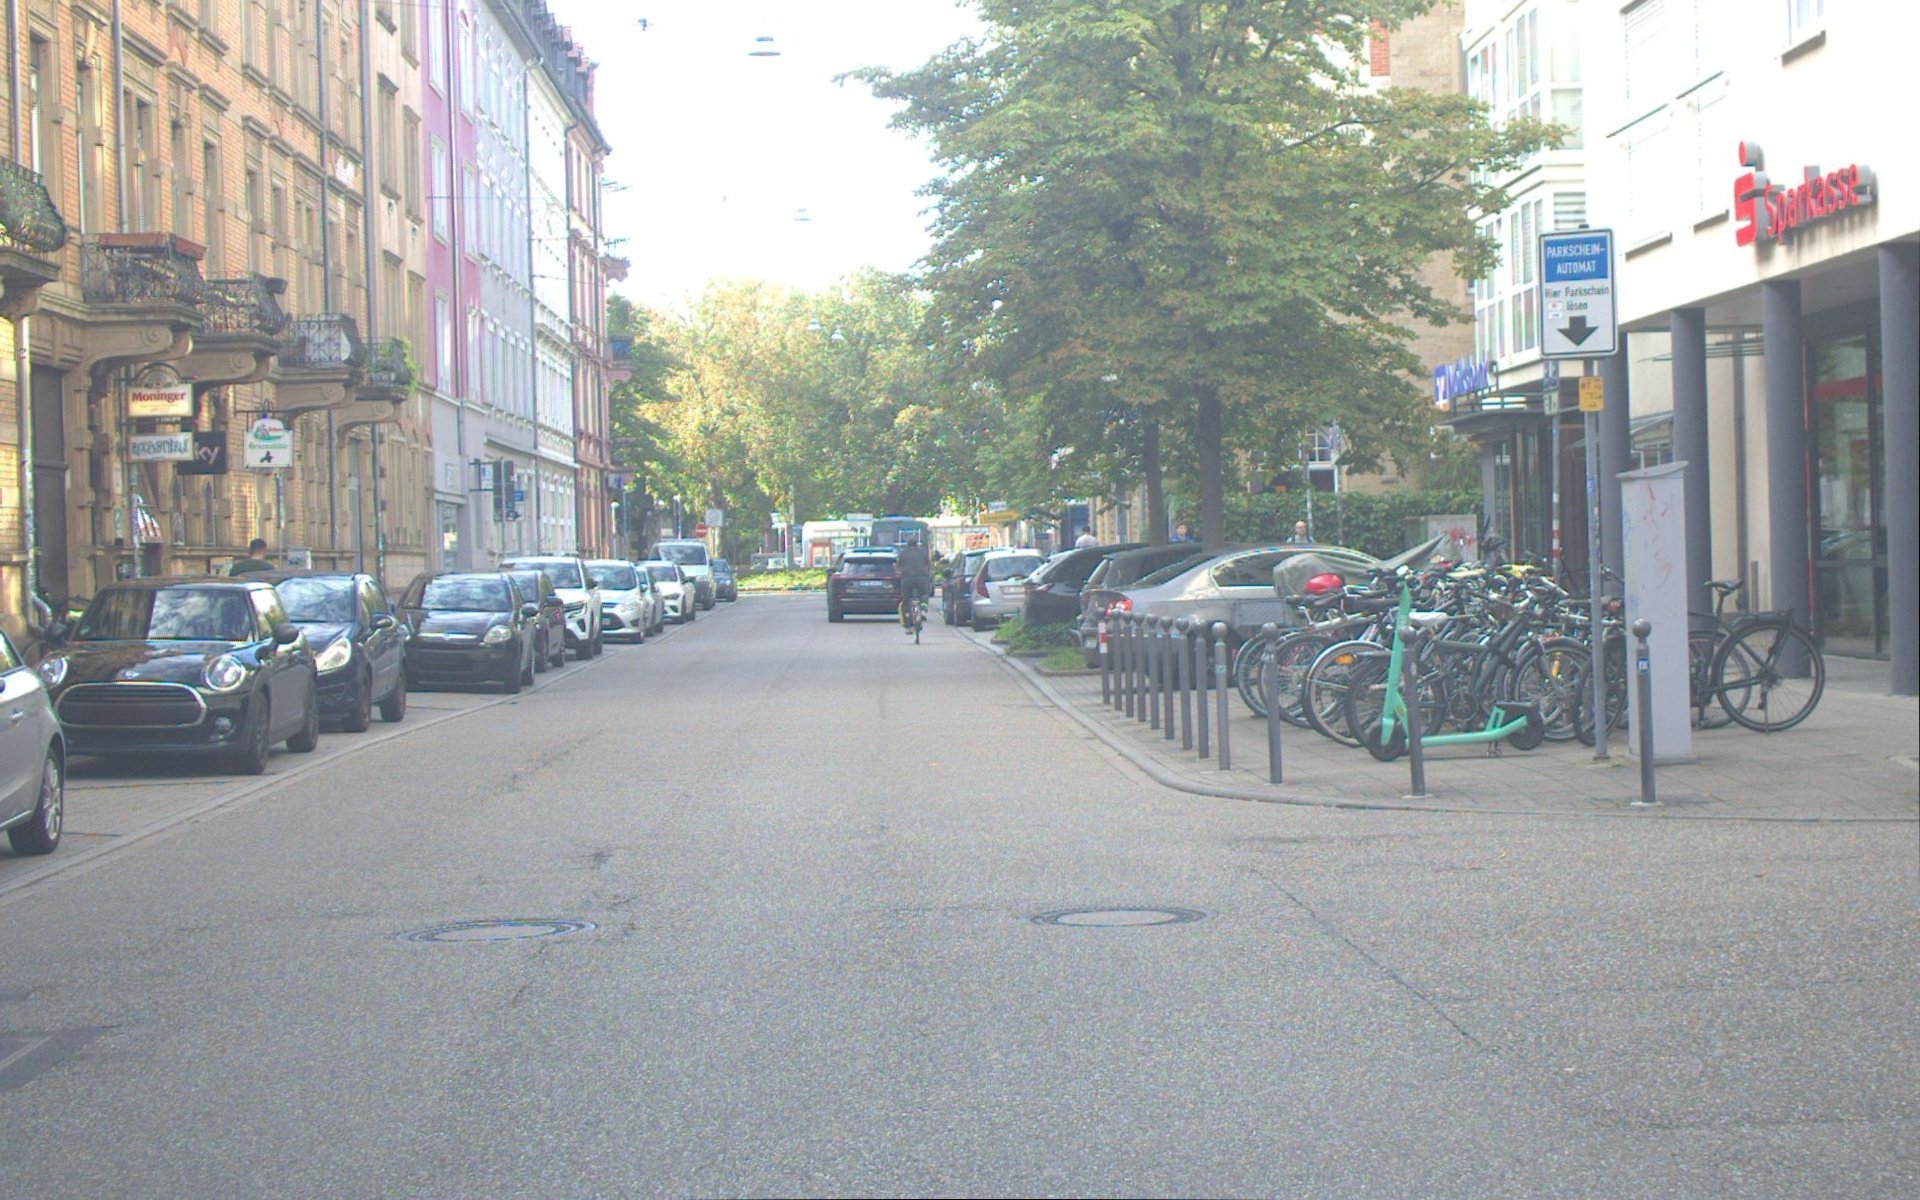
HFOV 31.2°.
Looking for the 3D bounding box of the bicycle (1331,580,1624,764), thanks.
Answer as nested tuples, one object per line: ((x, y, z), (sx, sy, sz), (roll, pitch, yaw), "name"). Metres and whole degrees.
((3.337, 0.456, 22.189), (1.765, 1.053, 0.411), (-4, 1, -6), "bicycle")

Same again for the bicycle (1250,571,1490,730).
((3.193, 0.388, 26.830), (1.765, 1.115, 0.411), (-4, 1, 2), "bicycle")

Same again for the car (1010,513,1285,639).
((2.834, -0.378, 51.935), (3.987, 1.634, 2.000), (-3, 1, 4), "car")

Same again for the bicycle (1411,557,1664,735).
((4.152, 0.320, 24.670), (1.765, 1.142, 0.411), (-4, 1, -21), "bicycle")

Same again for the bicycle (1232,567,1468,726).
((3.139, 0.369, 27.763), (1.794, 1.155, 0.500), (-4, 1, 2), "bicycle")

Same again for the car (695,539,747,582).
((-8.655, -1.443, 124.728), (1.587, 1.533, 3.753), (0, 1, 0), "car")

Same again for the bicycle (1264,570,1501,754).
((2.890, 0.416, 23.546), (1.495, 1.142, 0.411), (-4, 1, -6), "bicycle")

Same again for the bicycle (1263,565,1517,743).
((3.099, 0.378, 24.719), (1.765, 1.142, 0.411), (-4, 1, -21), "bicycle")

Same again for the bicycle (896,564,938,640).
((-0.741, 0.029, 59.291), (0.718, 1.270, 1.884), (0, 1, -1), "bicycle")

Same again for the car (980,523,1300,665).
((2.351, -0.095, 44.844), (3.987, 1.578, 2.000), (-3, 1, 4), "car")

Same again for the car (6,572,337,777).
((-5.921, 0.511, 26.215), (1.690, 1.382, 3.867), (0, 1, -1), "car")

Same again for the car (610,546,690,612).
((-7.385, -0.517, 82.181), (1.690, 1.545, 3.867), (0, 1, -2), "car")

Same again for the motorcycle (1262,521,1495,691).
((4.127, 0.051, 34.011), (2.150, 1.525, 0.686), (-4, 1, 3), "motorcycle")

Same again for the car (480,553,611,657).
((-6.569, 0.048, 54.789), (1.690, 1.545, 3.867), (0, 1, -1), "car")

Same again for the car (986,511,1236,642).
((2.496, -0.400, 57.026), (3.987, 1.678, 1.737), (-4, 9, 3), "car")

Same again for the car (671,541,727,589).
((-8.598, -1.164, 113.527), (1.690, 1.545, 3.867), (0, 1, -2), "car")

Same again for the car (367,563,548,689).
((-6.158, 0.287, 42.502), (1.690, 1.364, 3.867), (2, 1, -1), "car")

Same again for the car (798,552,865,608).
((-3.515, -0.564, 93.938), (1.797, 1.467, 3.888), (0, 1, -2), "car")

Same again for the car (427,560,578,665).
((-6.596, 0.151, 49.903), (1.690, 1.364, 3.867), (2, 1, -1), "car")

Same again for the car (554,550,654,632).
((-6.896, -0.201, 66.857), (1.690, 1.545, 3.867), (0, 1, -2), "car")

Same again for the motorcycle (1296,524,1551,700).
((4.175, 0.103, 31.073), (2.150, 1.430, 0.765), (-4, 1, 3), "motorcycle")

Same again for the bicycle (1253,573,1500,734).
((3.152, 0.404, 26.084), (1.765, 1.095, 0.411), (-4, 1, 2), "bicycle")

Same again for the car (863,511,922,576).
((-2.148, -1.797, 108.367), (1.782, 2.013, 3.888), (0, 1, -2), "car")

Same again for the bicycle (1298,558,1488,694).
((4.076, 0.240, 32.419), (1.664, 1.155, 0.557), (-4, 1, 1), "bicycle")

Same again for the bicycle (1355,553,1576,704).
((4.282, 0.239, 29.182), (1.732, 1.155, 0.500), (-4, 1, 1), "bicycle")

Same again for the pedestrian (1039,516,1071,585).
((3.090, -1.612, 112.023), (0.995, 2.222, 0.898), (0, 1, 0), "pedestrian")

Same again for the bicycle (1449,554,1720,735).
((4.388, 0.307, 24.171), (1.765, 1.142, 0.411), (-4, 1, -7), "bicycle")

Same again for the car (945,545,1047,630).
((0.690, -0.270, 69.318), (1.930, 1.632, 4.000), (0, 1, -1), "car")

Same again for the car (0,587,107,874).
((-5.616, 0.665, 17.418), (1.690, 1.382, 3.867), (0, 1, -1), "car")

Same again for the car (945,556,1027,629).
((0.546, -0.180, 73.972), (1.690, 1.545, 3.688), (0, 1, -1), "car")

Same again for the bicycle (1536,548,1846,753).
((4.622, 0.312, 21.805), (1.765, 1.158, 0.650), (-4, 1, 1), "bicycle")

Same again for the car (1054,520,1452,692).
((3.057, 0.060, 36.236), (3.759, 1.541, 1.731), (-4, 0, -11), "car")

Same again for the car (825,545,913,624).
((-2.096, -0.346, 79.068), (1.965, 1.735, 4.041), (-1, 0, -1), "car")

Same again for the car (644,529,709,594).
((-8.084, -1.111, 98.222), (1.690, 1.815, 3.867), (0, 1, -2), "car")

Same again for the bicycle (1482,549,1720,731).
((4.399, 0.272, 23.631), (1.495, 1.142, 0.411), (-4, 1, -1), "bicycle")

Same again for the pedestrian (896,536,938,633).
((-0.739, -0.277, 59.262), (0.718, 1.644, 0.930), (0, 1, -1), "pedestrian")

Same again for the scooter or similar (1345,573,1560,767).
((3.089, 0.442, 21.572), (1.207, 1.143, 0.378), (-3, 2, 30), "scooter or similar")

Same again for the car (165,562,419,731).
((-6.193, 0.388, 32.245), (1.690, 1.432, 3.867), (0, 1, -1), "car")

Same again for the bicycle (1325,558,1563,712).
((3.963, 0.293, 28.183), (1.796, 1.155, 0.499), (-3, 2, 25), "bicycle")

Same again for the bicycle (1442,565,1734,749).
((4.162, 0.372, 22.845), (1.765, 1.083, 0.650), (-4, 1, 1), "bicycle")

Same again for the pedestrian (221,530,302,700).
((-7.696, 0.154, 37.919), (0.689, 1.847, 0.931), (0, 1, 0), "pedestrian")
